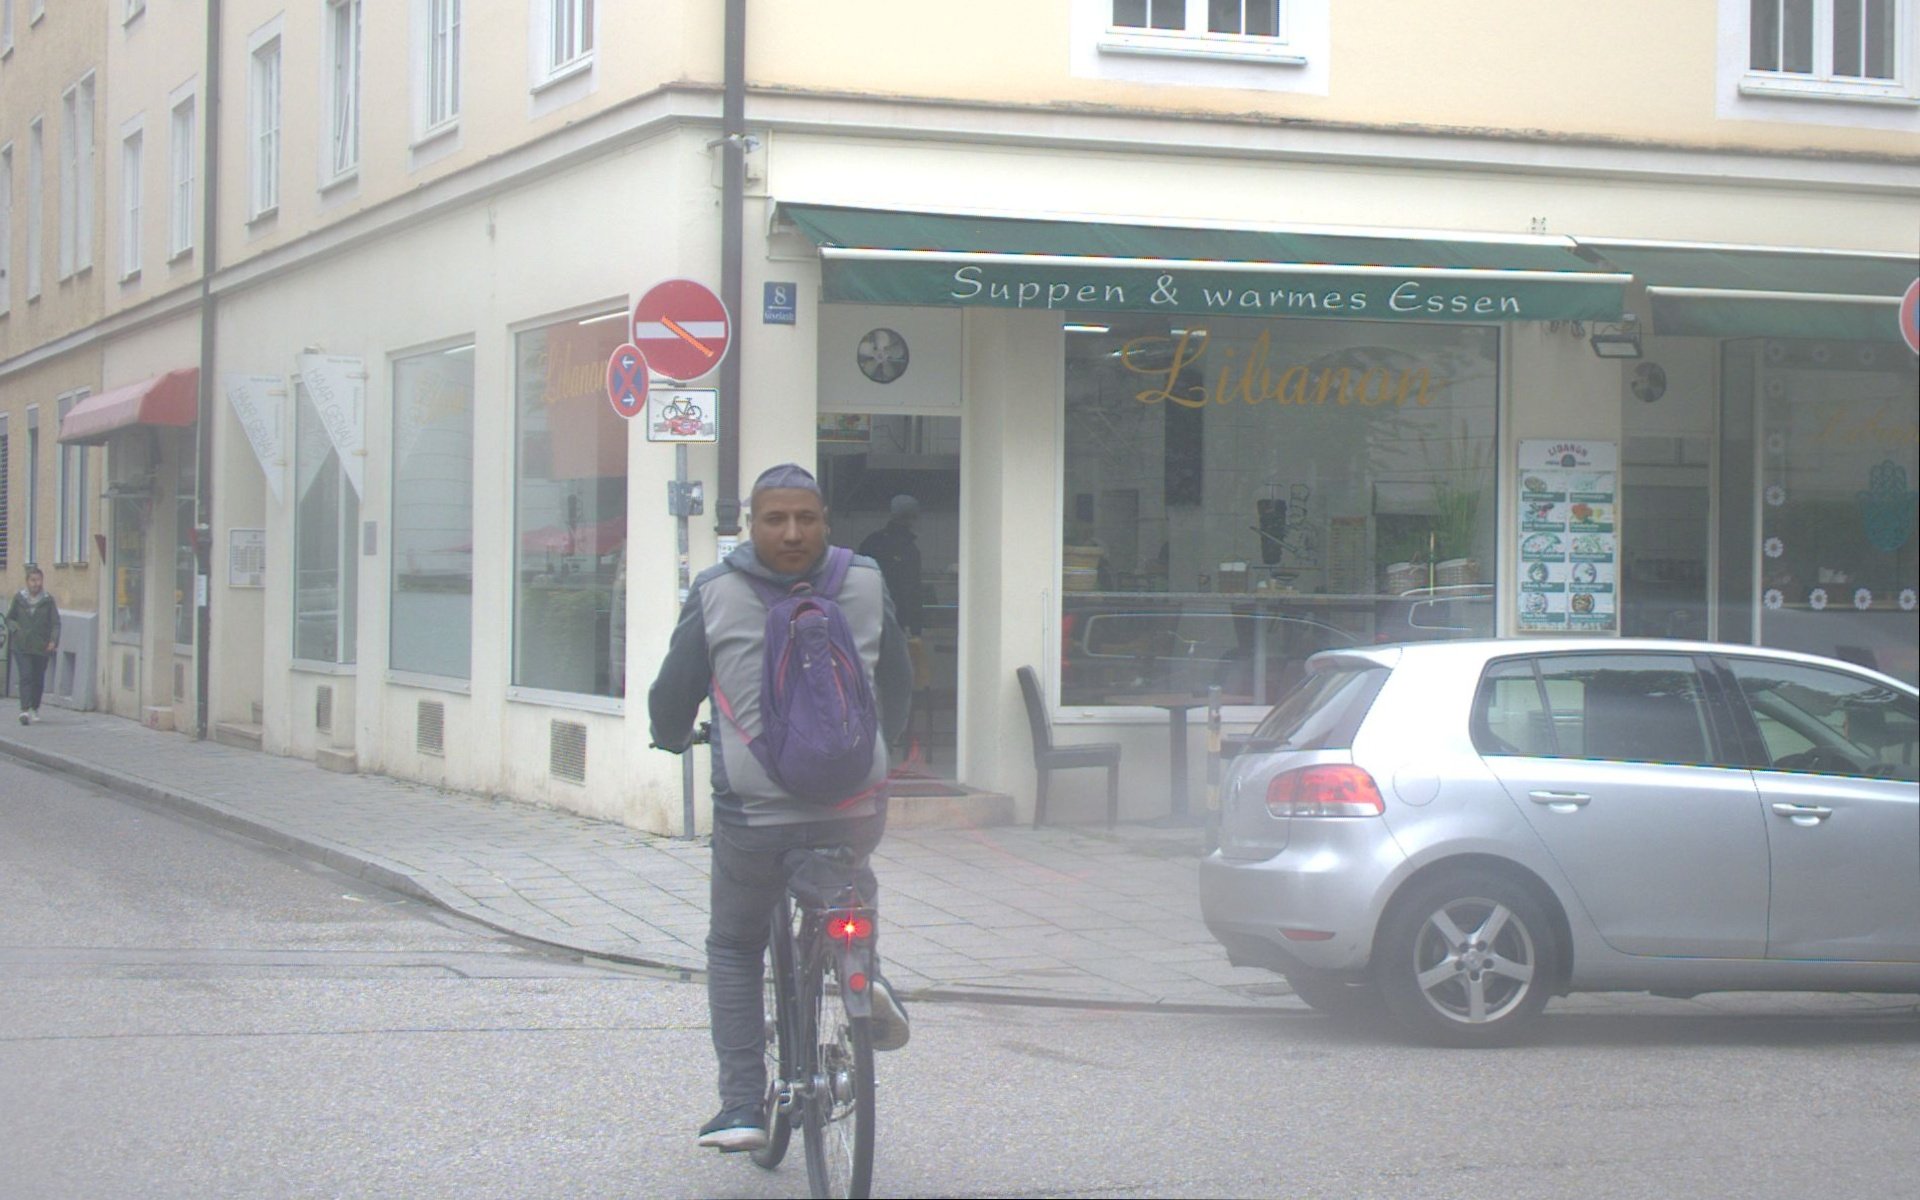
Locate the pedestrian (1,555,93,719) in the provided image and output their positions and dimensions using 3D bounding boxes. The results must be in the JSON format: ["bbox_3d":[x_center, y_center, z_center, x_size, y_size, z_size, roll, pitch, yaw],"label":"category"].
[{"bbox_3d":[-10.005,0.395,37.667,0.877,1.772,0.774,1,0,-21],"label":"pedestrian"}]

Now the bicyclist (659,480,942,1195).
[{"bbox_3d":[-0.390,0.527,8.097,0.606,1.601,0.757,1,1,-6],"label":"bicyclist"}]

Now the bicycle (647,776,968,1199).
[{"bbox_3d":[-0.390,0.960,8.013,0.639,1.001,1.574,1,0,-6],"label":"bicycle"}]

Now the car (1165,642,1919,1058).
[{"bbox_3d":[2.914,0.933,12.885,3.986,1.411,1.821,1,-3,-8],"label":"car"}]
